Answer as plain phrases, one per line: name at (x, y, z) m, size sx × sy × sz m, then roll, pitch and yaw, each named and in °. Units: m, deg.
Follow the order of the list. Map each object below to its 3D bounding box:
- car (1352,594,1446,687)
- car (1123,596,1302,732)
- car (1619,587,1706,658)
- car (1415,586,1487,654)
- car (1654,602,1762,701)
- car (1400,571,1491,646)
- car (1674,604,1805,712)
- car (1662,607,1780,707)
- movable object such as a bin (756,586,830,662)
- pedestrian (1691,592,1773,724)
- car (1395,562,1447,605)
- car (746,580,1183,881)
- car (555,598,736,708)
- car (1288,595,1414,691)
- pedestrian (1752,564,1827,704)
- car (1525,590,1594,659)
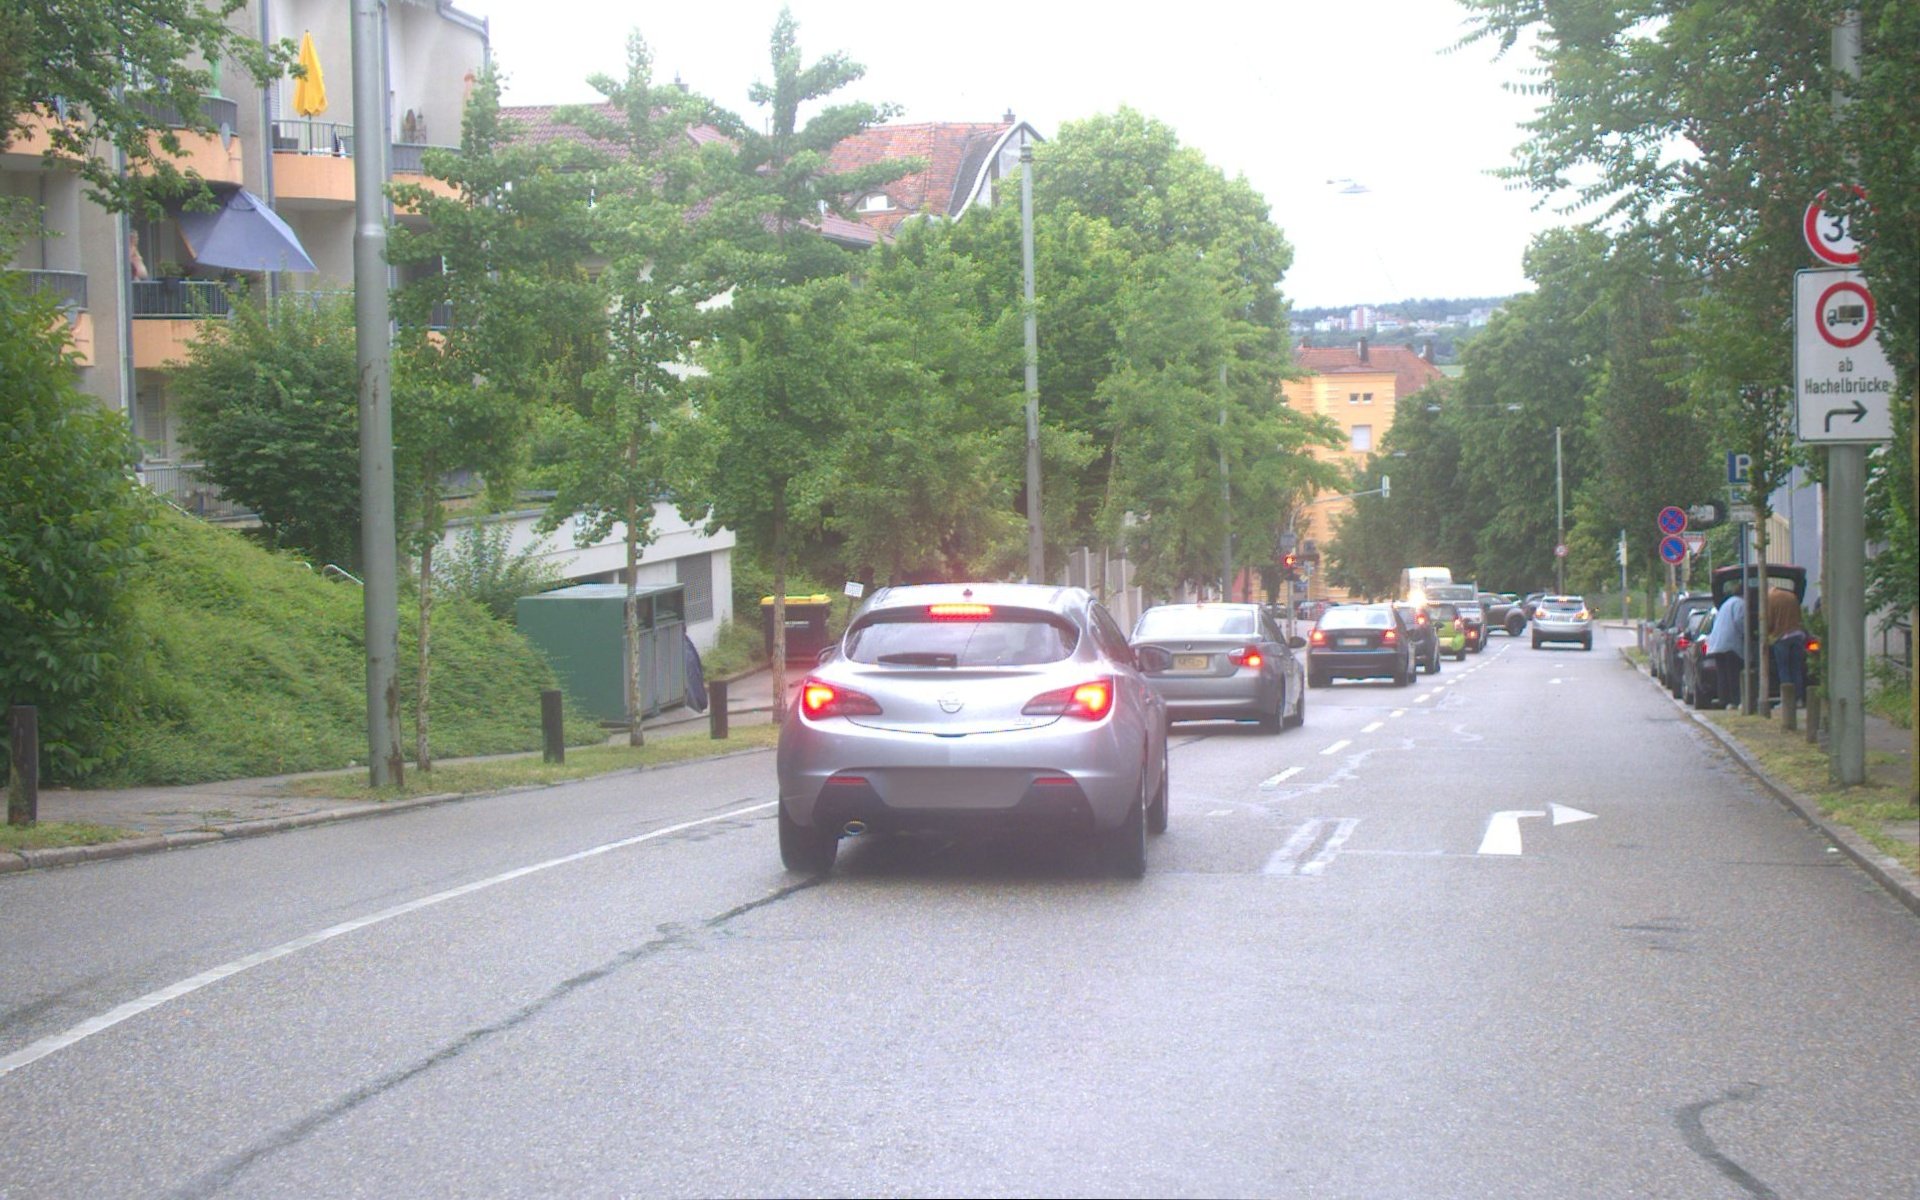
car at (9.088, 0.808, 70.980) m, size 1.769 × 1.775 × 3.975 m, roll 3°, pitch 1°, yaw 8°
car at (2.747, 0.648, 37.099) m, size 1.798 × 1.318 × 3.999 m, roll 1°, pitch 1°, yaw 5°
car at (16.513, 0.513, 80.899) m, size 1.907 × 1.565 × 3.998 m, roll -1°, pitch 0°, yaw 11°
car at (12.816, 0.534, 89.676) m, size 1.755 × 1.645 × 3.998 m, roll 3°, pitch 0°, yaw 8°
car at (12.726, 0.851, 58.672) m, size 1.686 × 1.565 × 3.998 m, roll -1°, pitch 0°, yaw 11°
car at (14.142, 0.216, 99.943) m, size 2.335 × 2.029 × 4.733 m, roll 3°, pitch 1°, yaw 11°
car at (10.928, 0.811, 48.390) m, size 1.504 × 1.430 × 3.998 m, roll -1°, pitch -1°, yaw 9°
car at (11.918, 0.872, 54.031) m, size 1.682 × 1.459 × 3.998 m, roll -1°, pitch 0°, yaw 11°
movable object such as a bin at (-3.085, 0.436, 63.551) m, size 1.272 × 1.382 × 0.489 m, roll 1°, pitch 0°, yaw 8°
pedestrian at (10.365, 0.778, 46.176) m, size 0.734 × 1.718 × 0.765 m, roll -3°, pitch 0°, yaw -15°
car at (20.602, -0.747, 153.409) m, size 1.994 × 1.778 × 3.998 m, roll 3°, pitch 1°, yaw 11°
car at (0.141, 0.636, 18.314) m, size 1.945 × 1.427 × 3.883 m, roll 0°, pitch -1°, yaw 6°
car at (-4.602, 0.775, 50.815) m, size 1.742 × 1.452 × 3.883 m, roll -4°, pitch -1°, yaw 8°
car at (6.759, 0.714, 59.197) m, size 1.961 × 1.467 × 3.949 m, roll 3°, pitch 1°, yaw 8°
pedestrian at (11.103, 0.454, 45.990) m, size 0.688 × 1.830 × 0.664 m, roll -3°, pitch 0°, yaw 37°
car at (18.847, 0.744, 107.990) m, size 1.994 × 2.029 × 4.733 m, roll 3°, pitch 1°, yaw 10°
